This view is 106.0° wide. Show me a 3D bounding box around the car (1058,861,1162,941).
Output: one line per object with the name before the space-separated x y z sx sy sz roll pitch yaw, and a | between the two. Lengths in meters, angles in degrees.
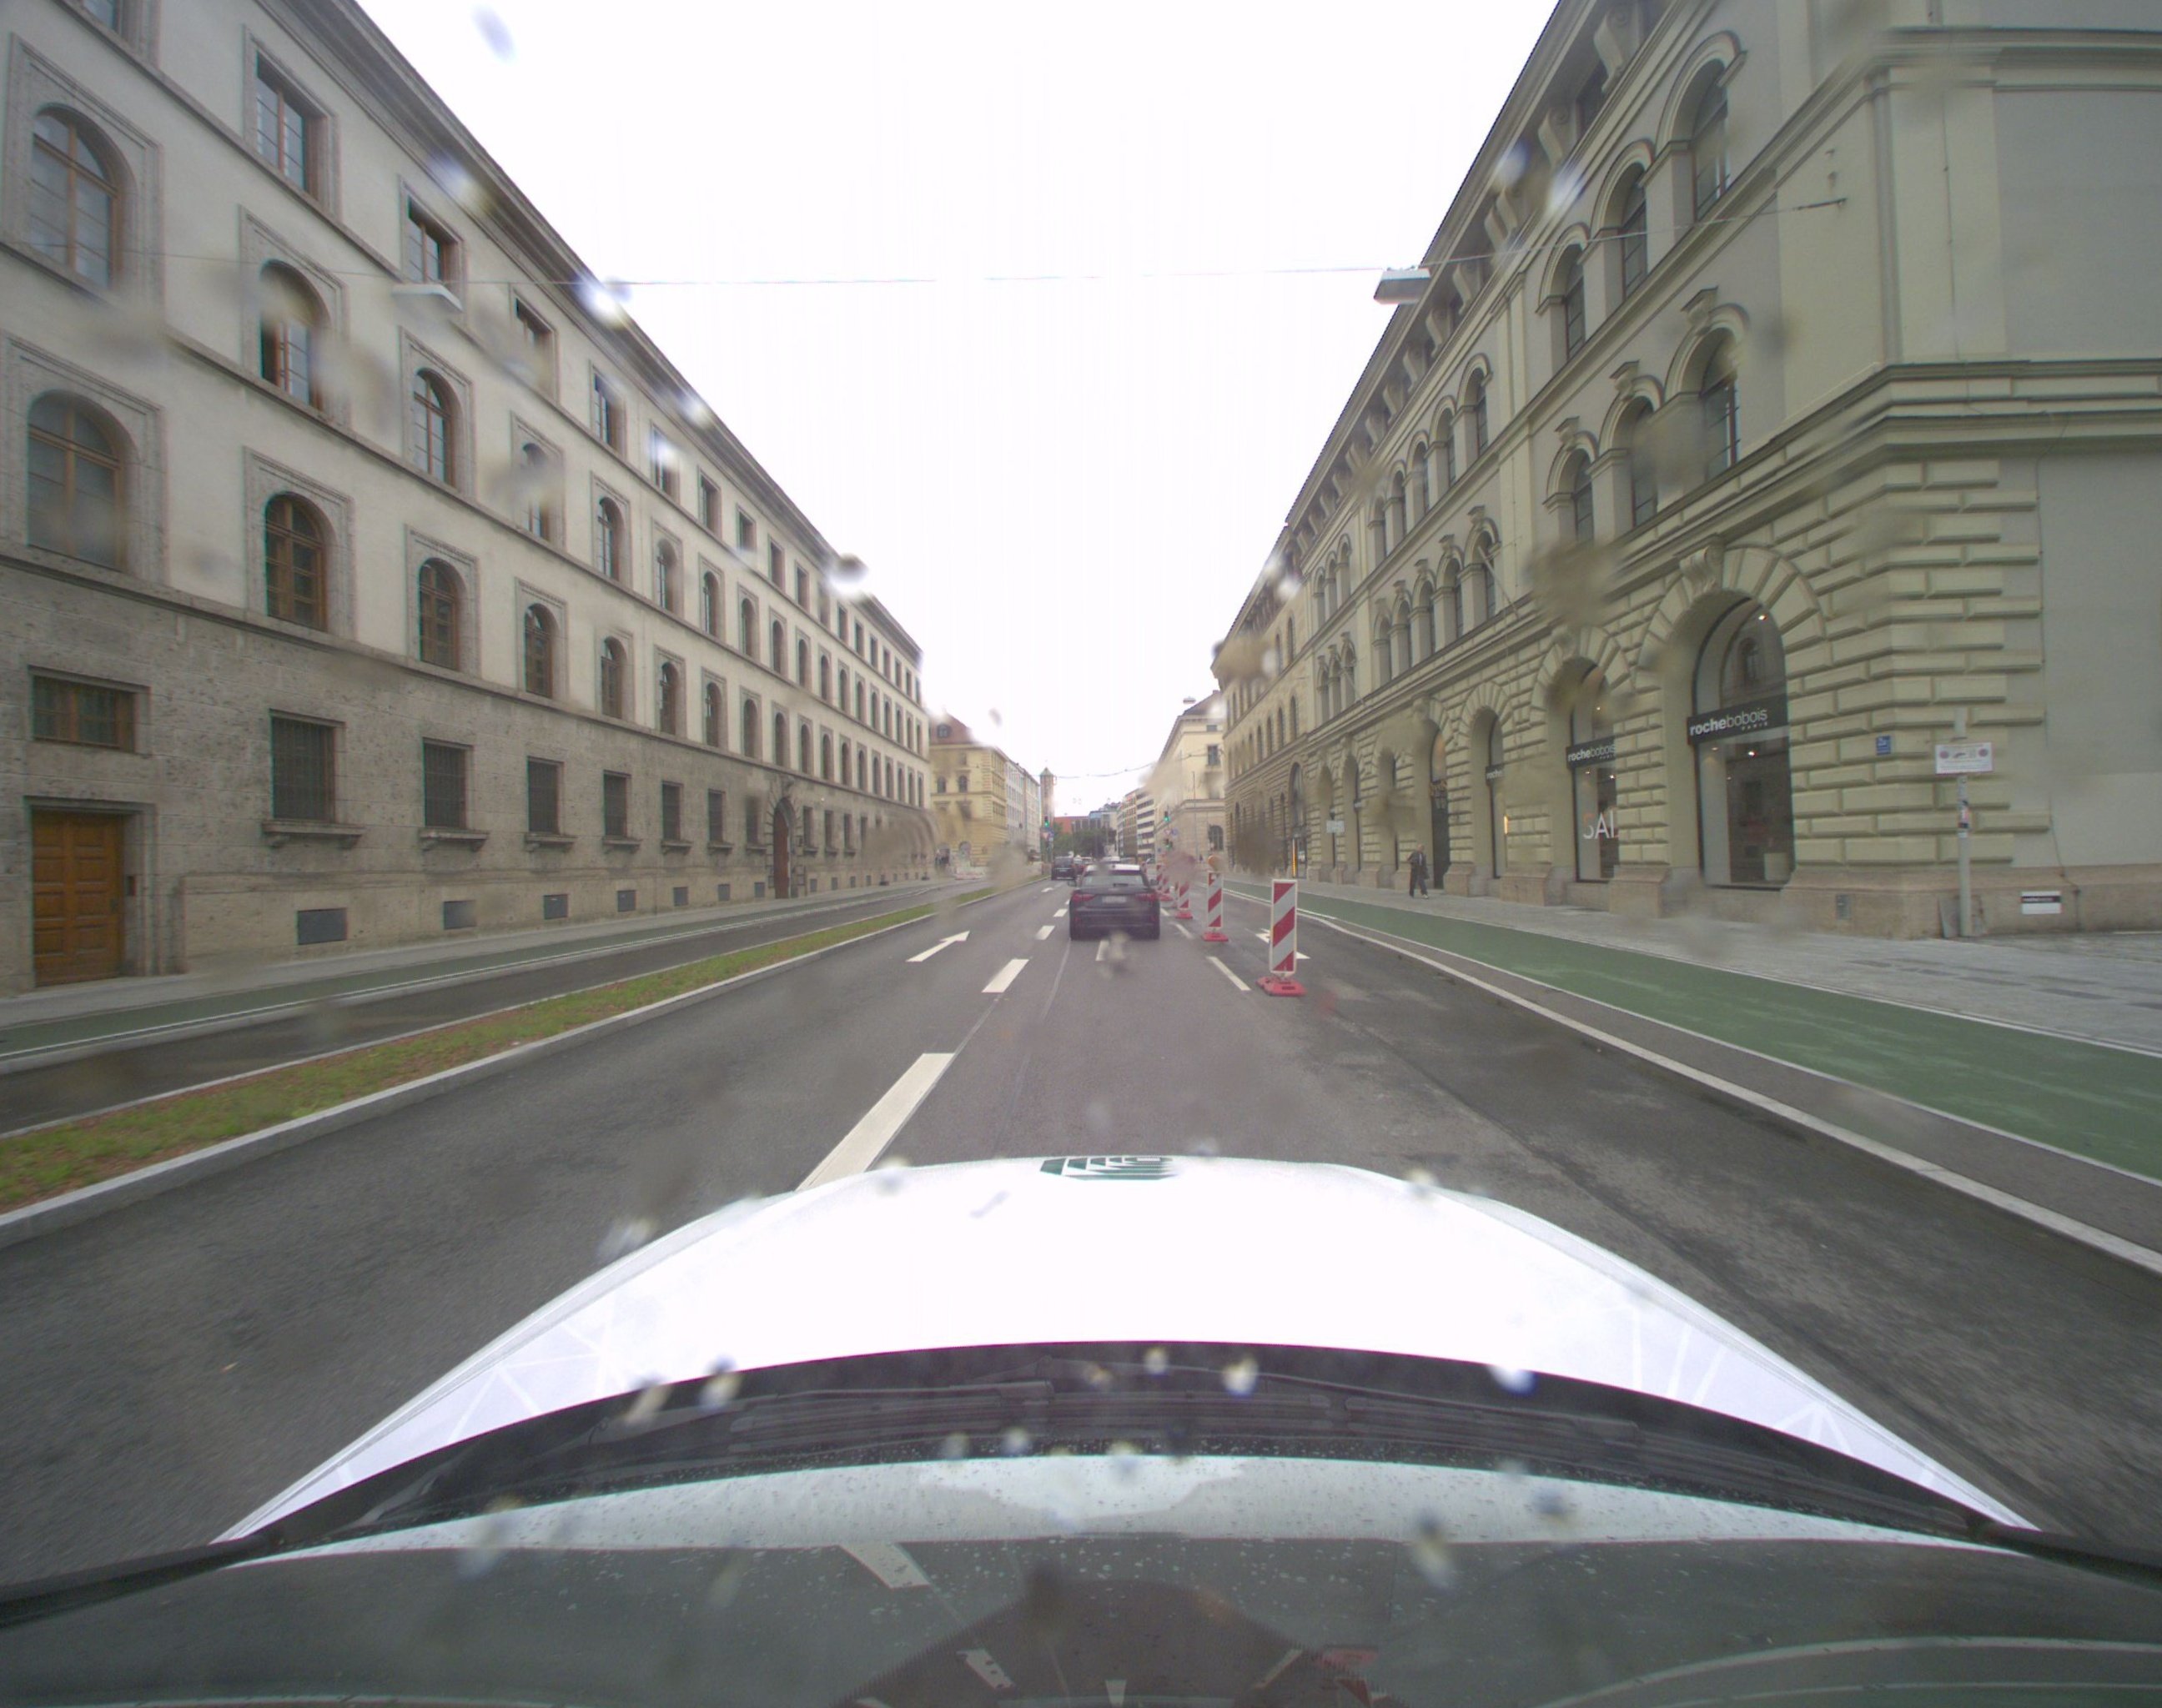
car | 0.593 0.866 16.760 1.856 1.388 4.002 -1 0 2

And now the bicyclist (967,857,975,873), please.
bicyclist | -12.179 1.248 90.208 0.794 1.776 0.690 -1 0 5

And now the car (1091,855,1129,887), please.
car | 1.504 0.868 43.527 1.764 1.617 3.998 -1 0 -1

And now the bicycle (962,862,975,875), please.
bicycle | -11.791 1.501 85.327 0.783 1.242 2.453 -1 0 6

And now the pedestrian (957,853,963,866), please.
pedestrian | -16.335 0.783 109.702 0.733 1.772 0.737 -1 0 -8

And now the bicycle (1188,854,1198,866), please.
bicycle | 9.822 0.528 71.652 0.583 1.011 1.654 -1 0 -3

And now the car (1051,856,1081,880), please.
car | -1.024 0.985 57.705 1.858 1.601 3.852 -2 0 1

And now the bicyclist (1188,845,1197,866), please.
bicyclist | 9.817 0.103 71.639 0.565 1.854 0.798 0 0 -3

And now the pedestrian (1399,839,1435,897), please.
pedestrian | 10.281 0.429 24.945 0.630 1.704 1.086 -2 0 1

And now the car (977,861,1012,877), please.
car | -10.680 1.847 100.339 3.767 1.798 1.848 -1 -1 -34

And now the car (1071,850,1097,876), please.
car | 0.263 0.743 67.113 1.986 2.013 4.001 -2 0 1

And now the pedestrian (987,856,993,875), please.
pedestrian | -8.437 1.052 75.525 0.512 1.743 1.040 -1 0 -8

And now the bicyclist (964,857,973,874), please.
bicyclist | -11.783 1.241 85.389 0.794 1.748 0.690 -1 0 5

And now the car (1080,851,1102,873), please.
car | 1.053 0.786 80.608 1.986 2.013 4.002 -2 0 2

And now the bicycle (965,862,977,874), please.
bicycle | -12.173 1.543 90.214 0.783 1.242 2.203 -1 0 6
